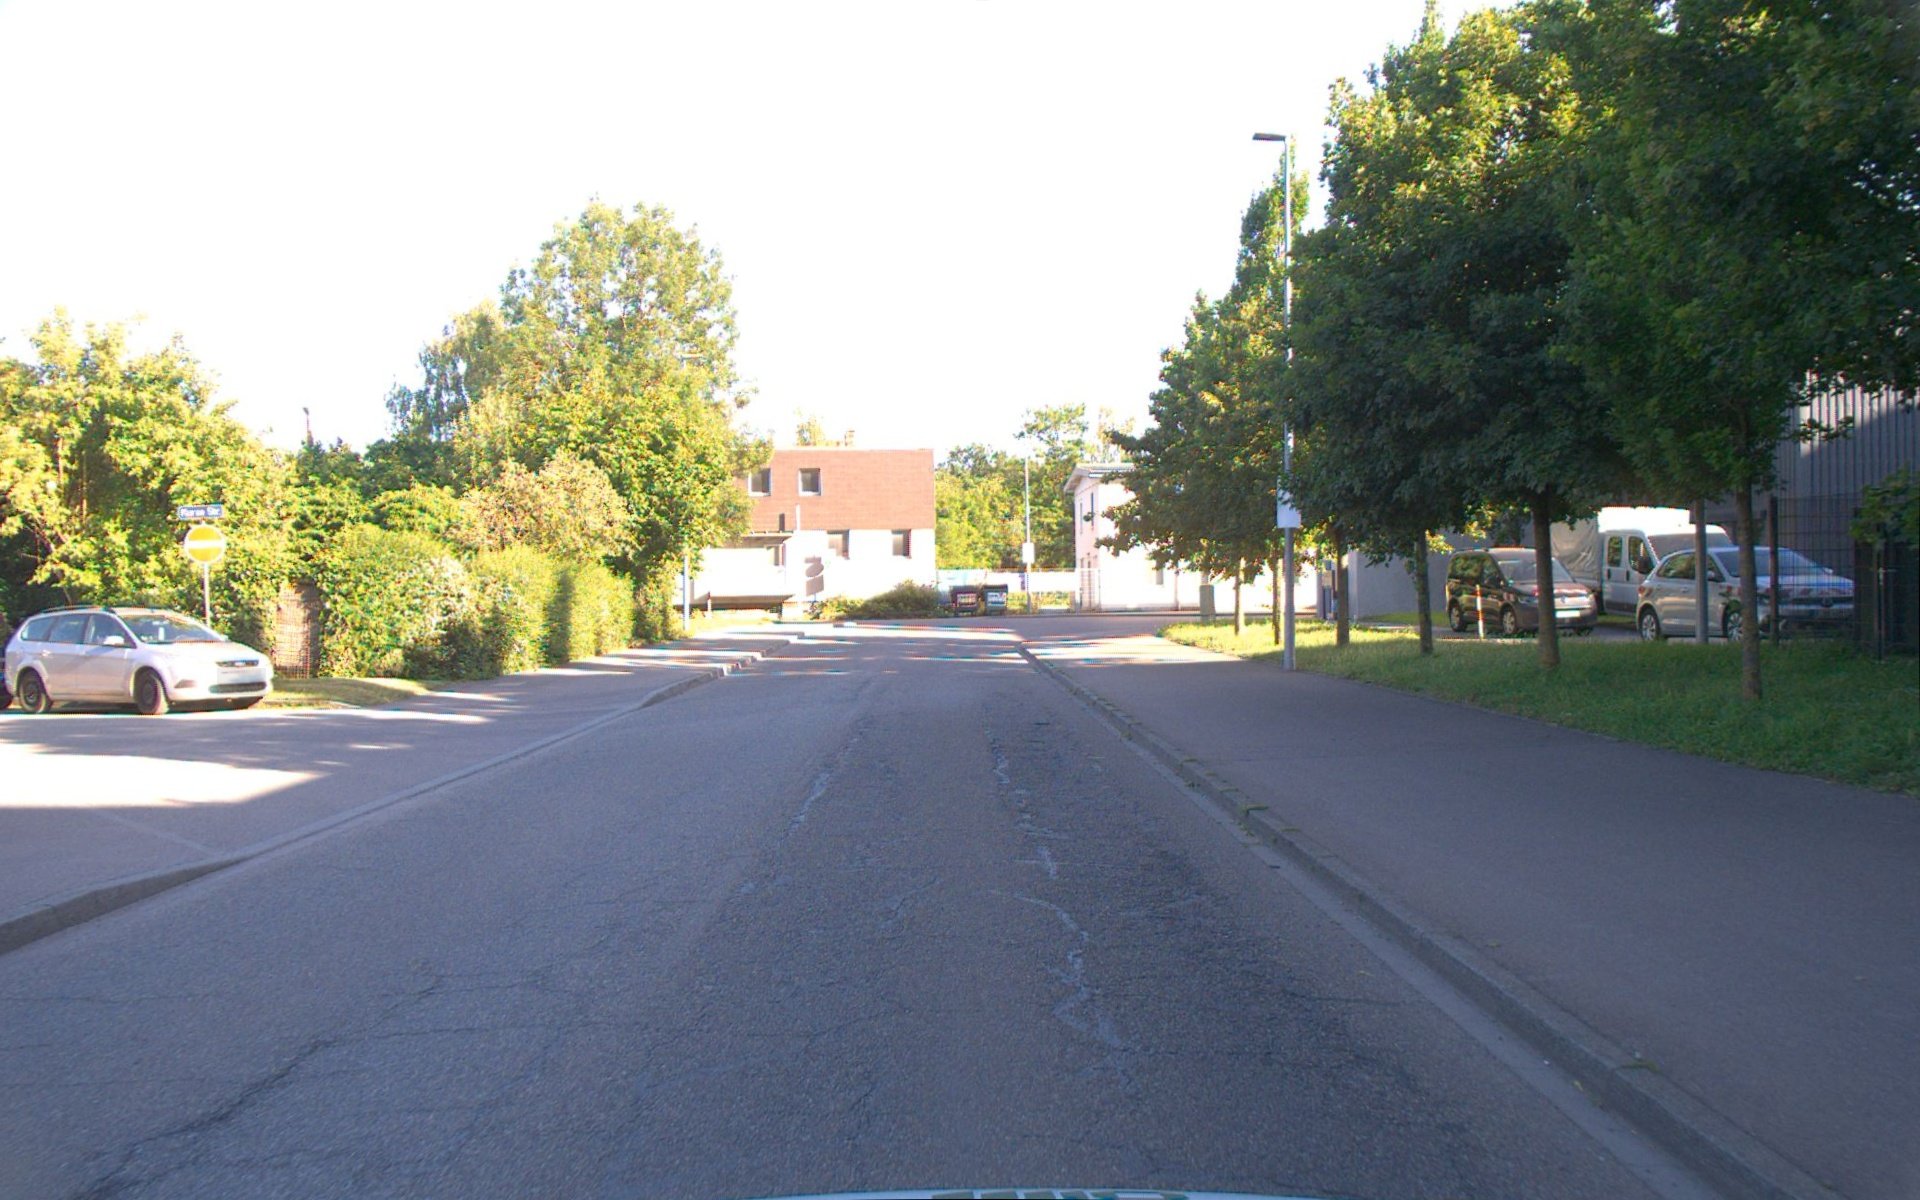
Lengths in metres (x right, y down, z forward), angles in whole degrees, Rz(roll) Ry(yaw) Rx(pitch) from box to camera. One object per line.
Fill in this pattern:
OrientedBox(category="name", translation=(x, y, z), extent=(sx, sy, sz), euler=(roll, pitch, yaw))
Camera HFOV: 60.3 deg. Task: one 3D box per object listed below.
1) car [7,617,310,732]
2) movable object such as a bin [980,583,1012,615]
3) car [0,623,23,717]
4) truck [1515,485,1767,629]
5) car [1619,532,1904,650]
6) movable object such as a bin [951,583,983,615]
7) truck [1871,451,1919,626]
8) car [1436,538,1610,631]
OrientedBox(category="car", translation=(-11.834, 1.035, 24.414), extent=(4.128, 1.516, 1.875), euler=(1, 0, 26))
OrientedBox(category="movable object such as a bin", translation=(1.660, -0.050, 76.246), extent=(1.339, 1.443, 1.064), euler=(1, 0, -8))
OrientedBox(category="car", translation=(-16.953, 1.165, 26.206), extent=(4.109, 1.461, 1.642), euler=(-3, -2, 26))
OrientedBox(category="truck", translation=(14.918, -0.903, 36.826), extent=(2.313, 2.887, 6.743), euler=(1, 1, -5))
OrientedBox(category="car", translation=(11.157, -0.112, 23.404), extent=(1.798, 1.492, 4.276), euler=(1, 0, -3))
OrientedBox(category="movable object such as a bin", translation=(0.319, -0.067, 75.884), extent=(1.339, 1.443, 1.064), euler=(1, 0, -8))
OrientedBox(category="truck", translation=(16.134, -0.954, 24.015), extent=(2.235, 2.724, 6.400), euler=(1, 0, -1))
OrientedBox(category="car", translation=(11.992, -0.309, 35.569), extent=(1.799, 1.846, 4.661), euler=(1, 0, -5))
